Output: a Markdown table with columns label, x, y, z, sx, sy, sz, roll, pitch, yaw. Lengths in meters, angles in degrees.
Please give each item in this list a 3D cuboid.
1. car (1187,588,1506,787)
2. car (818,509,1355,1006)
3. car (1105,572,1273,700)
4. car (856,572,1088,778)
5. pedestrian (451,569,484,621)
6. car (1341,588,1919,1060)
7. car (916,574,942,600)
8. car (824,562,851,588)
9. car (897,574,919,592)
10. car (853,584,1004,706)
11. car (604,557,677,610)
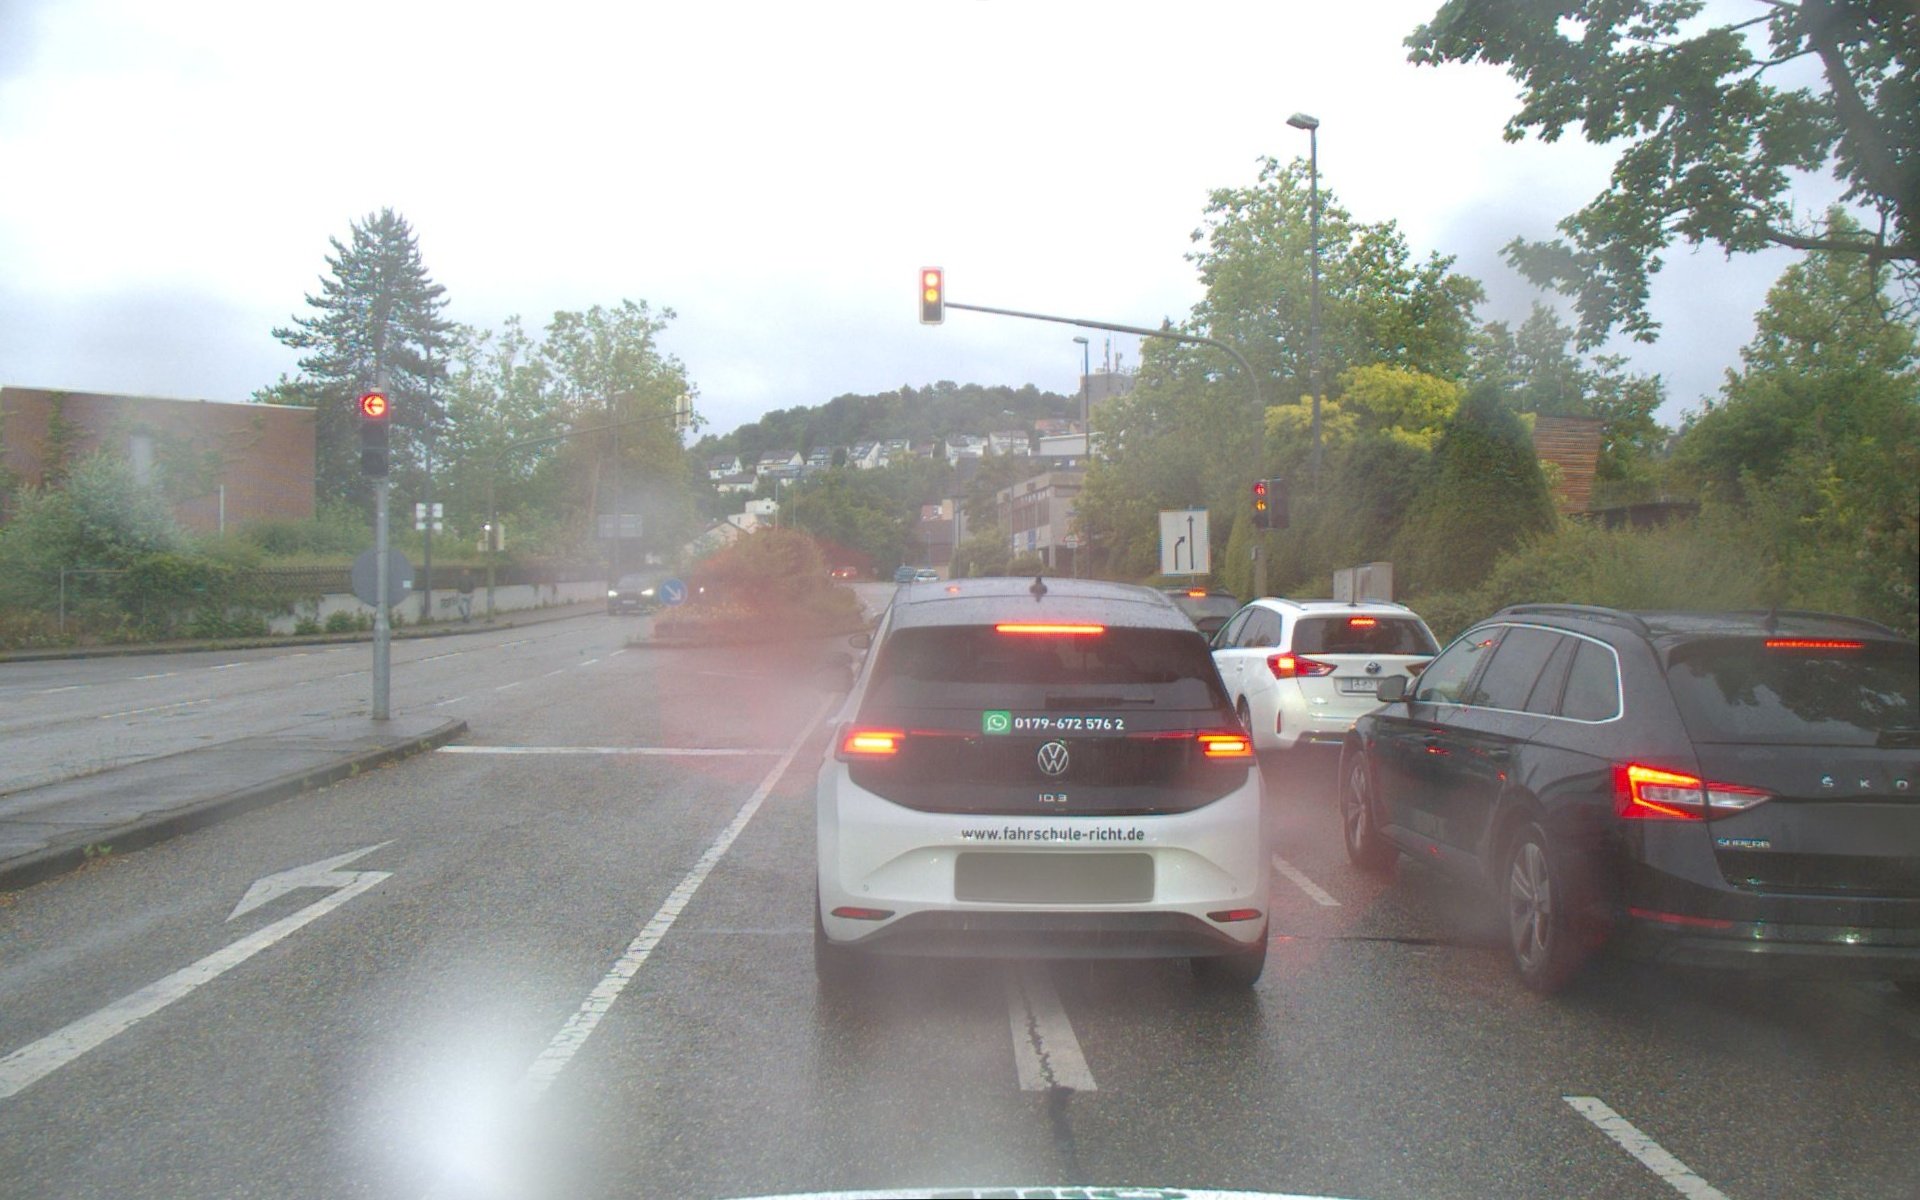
| label | x | y | z | sx | sy | sz | roll | pitch | yaw |
| --- | --- | --- | --- | --- | --- | --- | --- | --- | --- |
| car | 3.291 | 0.664 | 14.926 | 1.800 | 1.492 | 4.116 | 1 | 1 | -1 |
| car | 0.382 | 0.517 | 7.953 | 1.800 | 1.657 | 4.614 | 1 | 1 | -1 |
| car | 3.134 | 0.465 | 23.343 | 1.739 | 1.609 | 3.999 | 1 | 0 | -1 |
| car | 0.048 | 0.569 | 15.141 | 1.800 | 1.582 | 4.174 | 1 | 1 | -1 |
| pedestrian | -15.436 | -0.145 | 51.887 | 0.744 | 1.595 | 0.825 | -2 | 0 | -2 |
| car | 3.131 | 0.720 | 7.521 | 1.800 | 1.492 | 4.350 | 1 | 1 | 1 |
| car | -1.914 | -0.780 | 101.255 | 1.549 | 1.492 | 3.998 | -1 | 0 | -2 |
| car | -10.350 | -2.089 | 139.980 | 1.953 | 2.049 | 3.999 | 1 | -1 | -1 |
| car | -4.275 | -1.431 | 136.215 | 1.726 | 1.443 | 3.747 | -1 | 1 | -3 |
| car | -0.422 | 0.531 | 22.025 | 1.800 | 1.424 | 3.830 | 1 | 1 | -1 |
| car | -12.084 | -0.611 | 62.843 | 1.953 | 1.836 | 3.999 | -3 | 0 | -1 |
